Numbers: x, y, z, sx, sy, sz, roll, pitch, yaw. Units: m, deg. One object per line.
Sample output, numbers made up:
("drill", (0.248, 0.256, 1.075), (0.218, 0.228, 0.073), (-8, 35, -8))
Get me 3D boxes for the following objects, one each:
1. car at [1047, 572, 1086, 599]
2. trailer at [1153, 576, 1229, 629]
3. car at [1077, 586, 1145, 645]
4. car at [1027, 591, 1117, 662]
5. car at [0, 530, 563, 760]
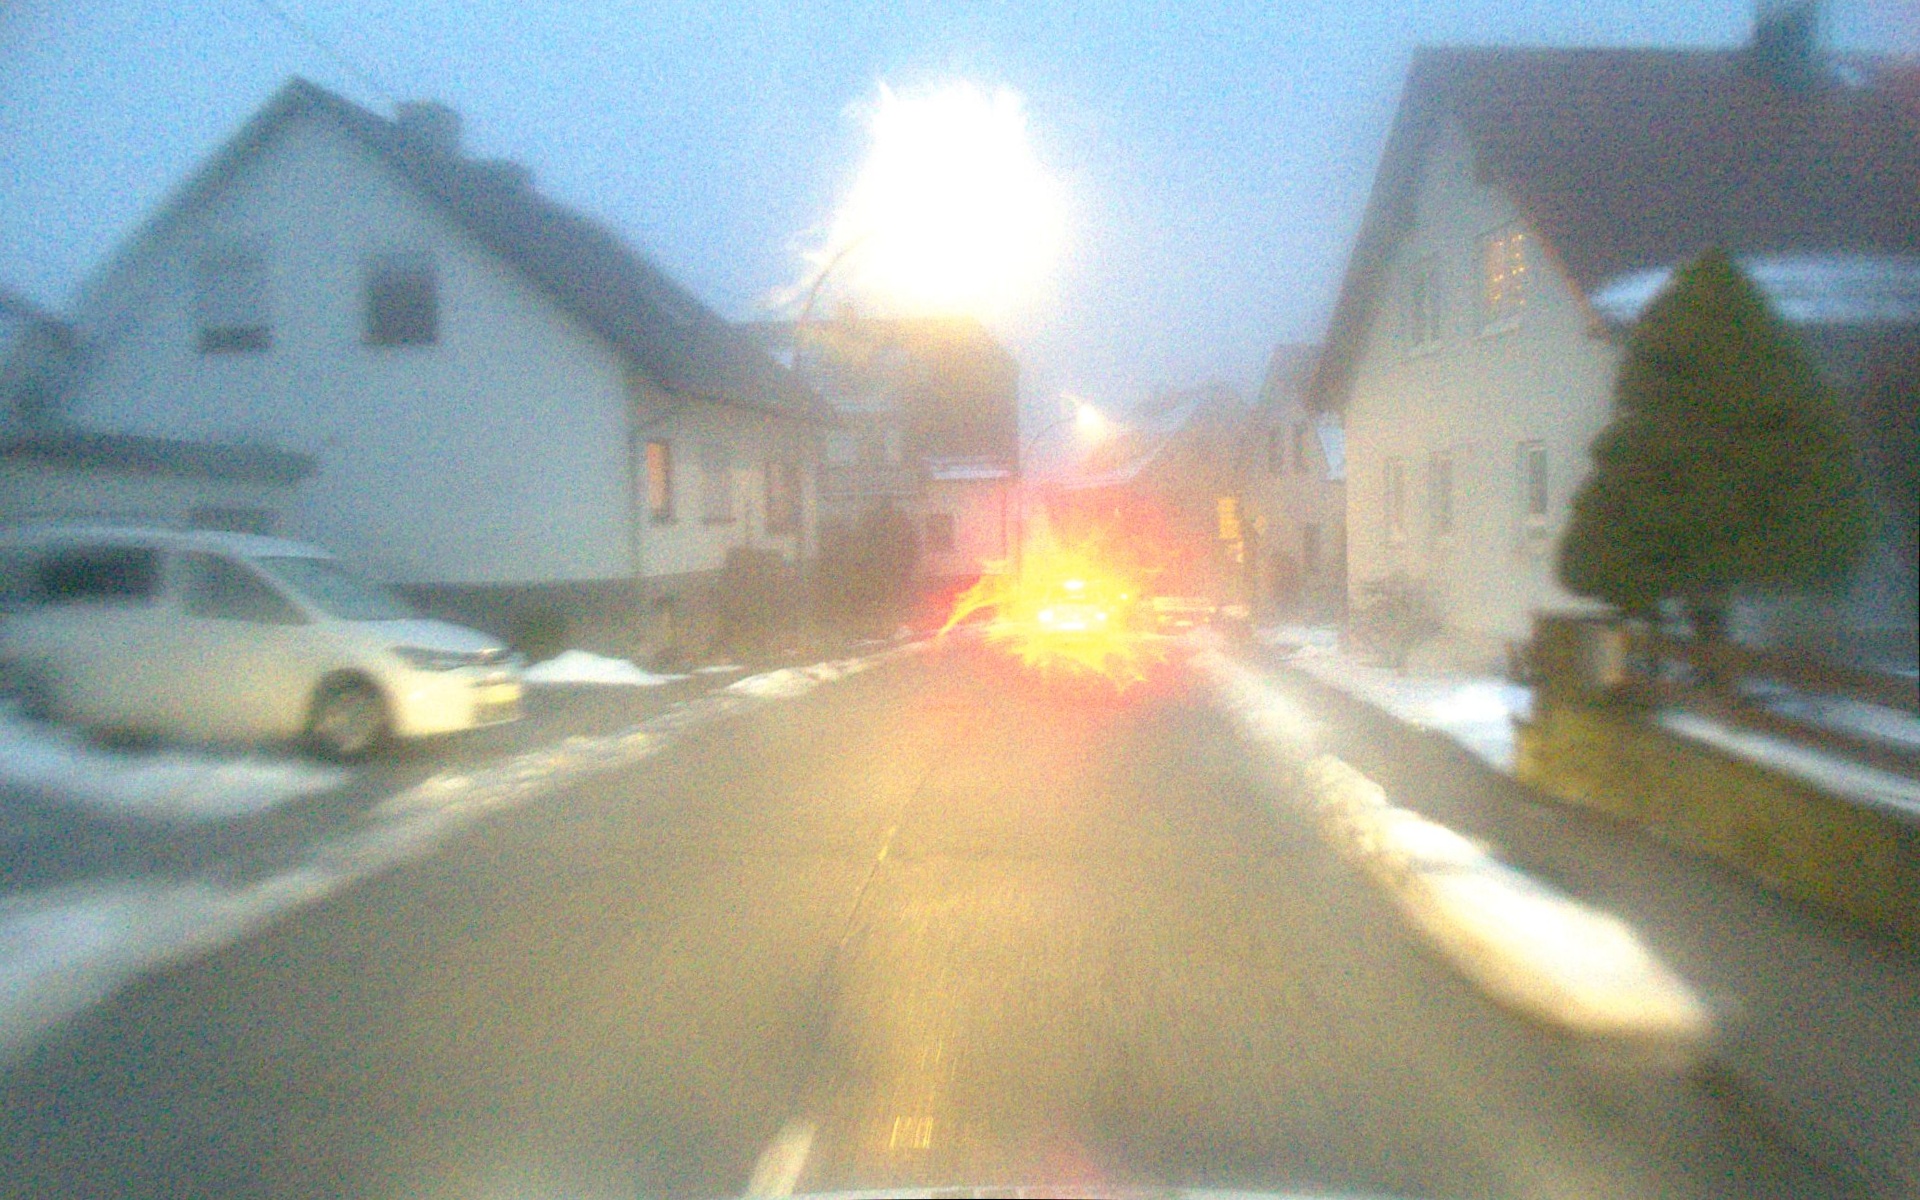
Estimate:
("car", (6.279, -0.885, 97.833), (1.872, 1.506, 4.281), (-1, 1, -2))
("trailer", (6.632, 0.028, 47.149), (1.951, 1.412, 4.736), (1, 1, 10))
("car", (4.798, 0.468, 52.136), (1.951, 1.758, 4.003), (1, 0, 8))
("car", (2.665, 0.592, 38.531), (1.951, 1.534, 4.002), (1, 0, 5))
("car", (-5.934, 0.327, 13.806), (4.689, 1.696, 1.892), (1, 0, 9))
